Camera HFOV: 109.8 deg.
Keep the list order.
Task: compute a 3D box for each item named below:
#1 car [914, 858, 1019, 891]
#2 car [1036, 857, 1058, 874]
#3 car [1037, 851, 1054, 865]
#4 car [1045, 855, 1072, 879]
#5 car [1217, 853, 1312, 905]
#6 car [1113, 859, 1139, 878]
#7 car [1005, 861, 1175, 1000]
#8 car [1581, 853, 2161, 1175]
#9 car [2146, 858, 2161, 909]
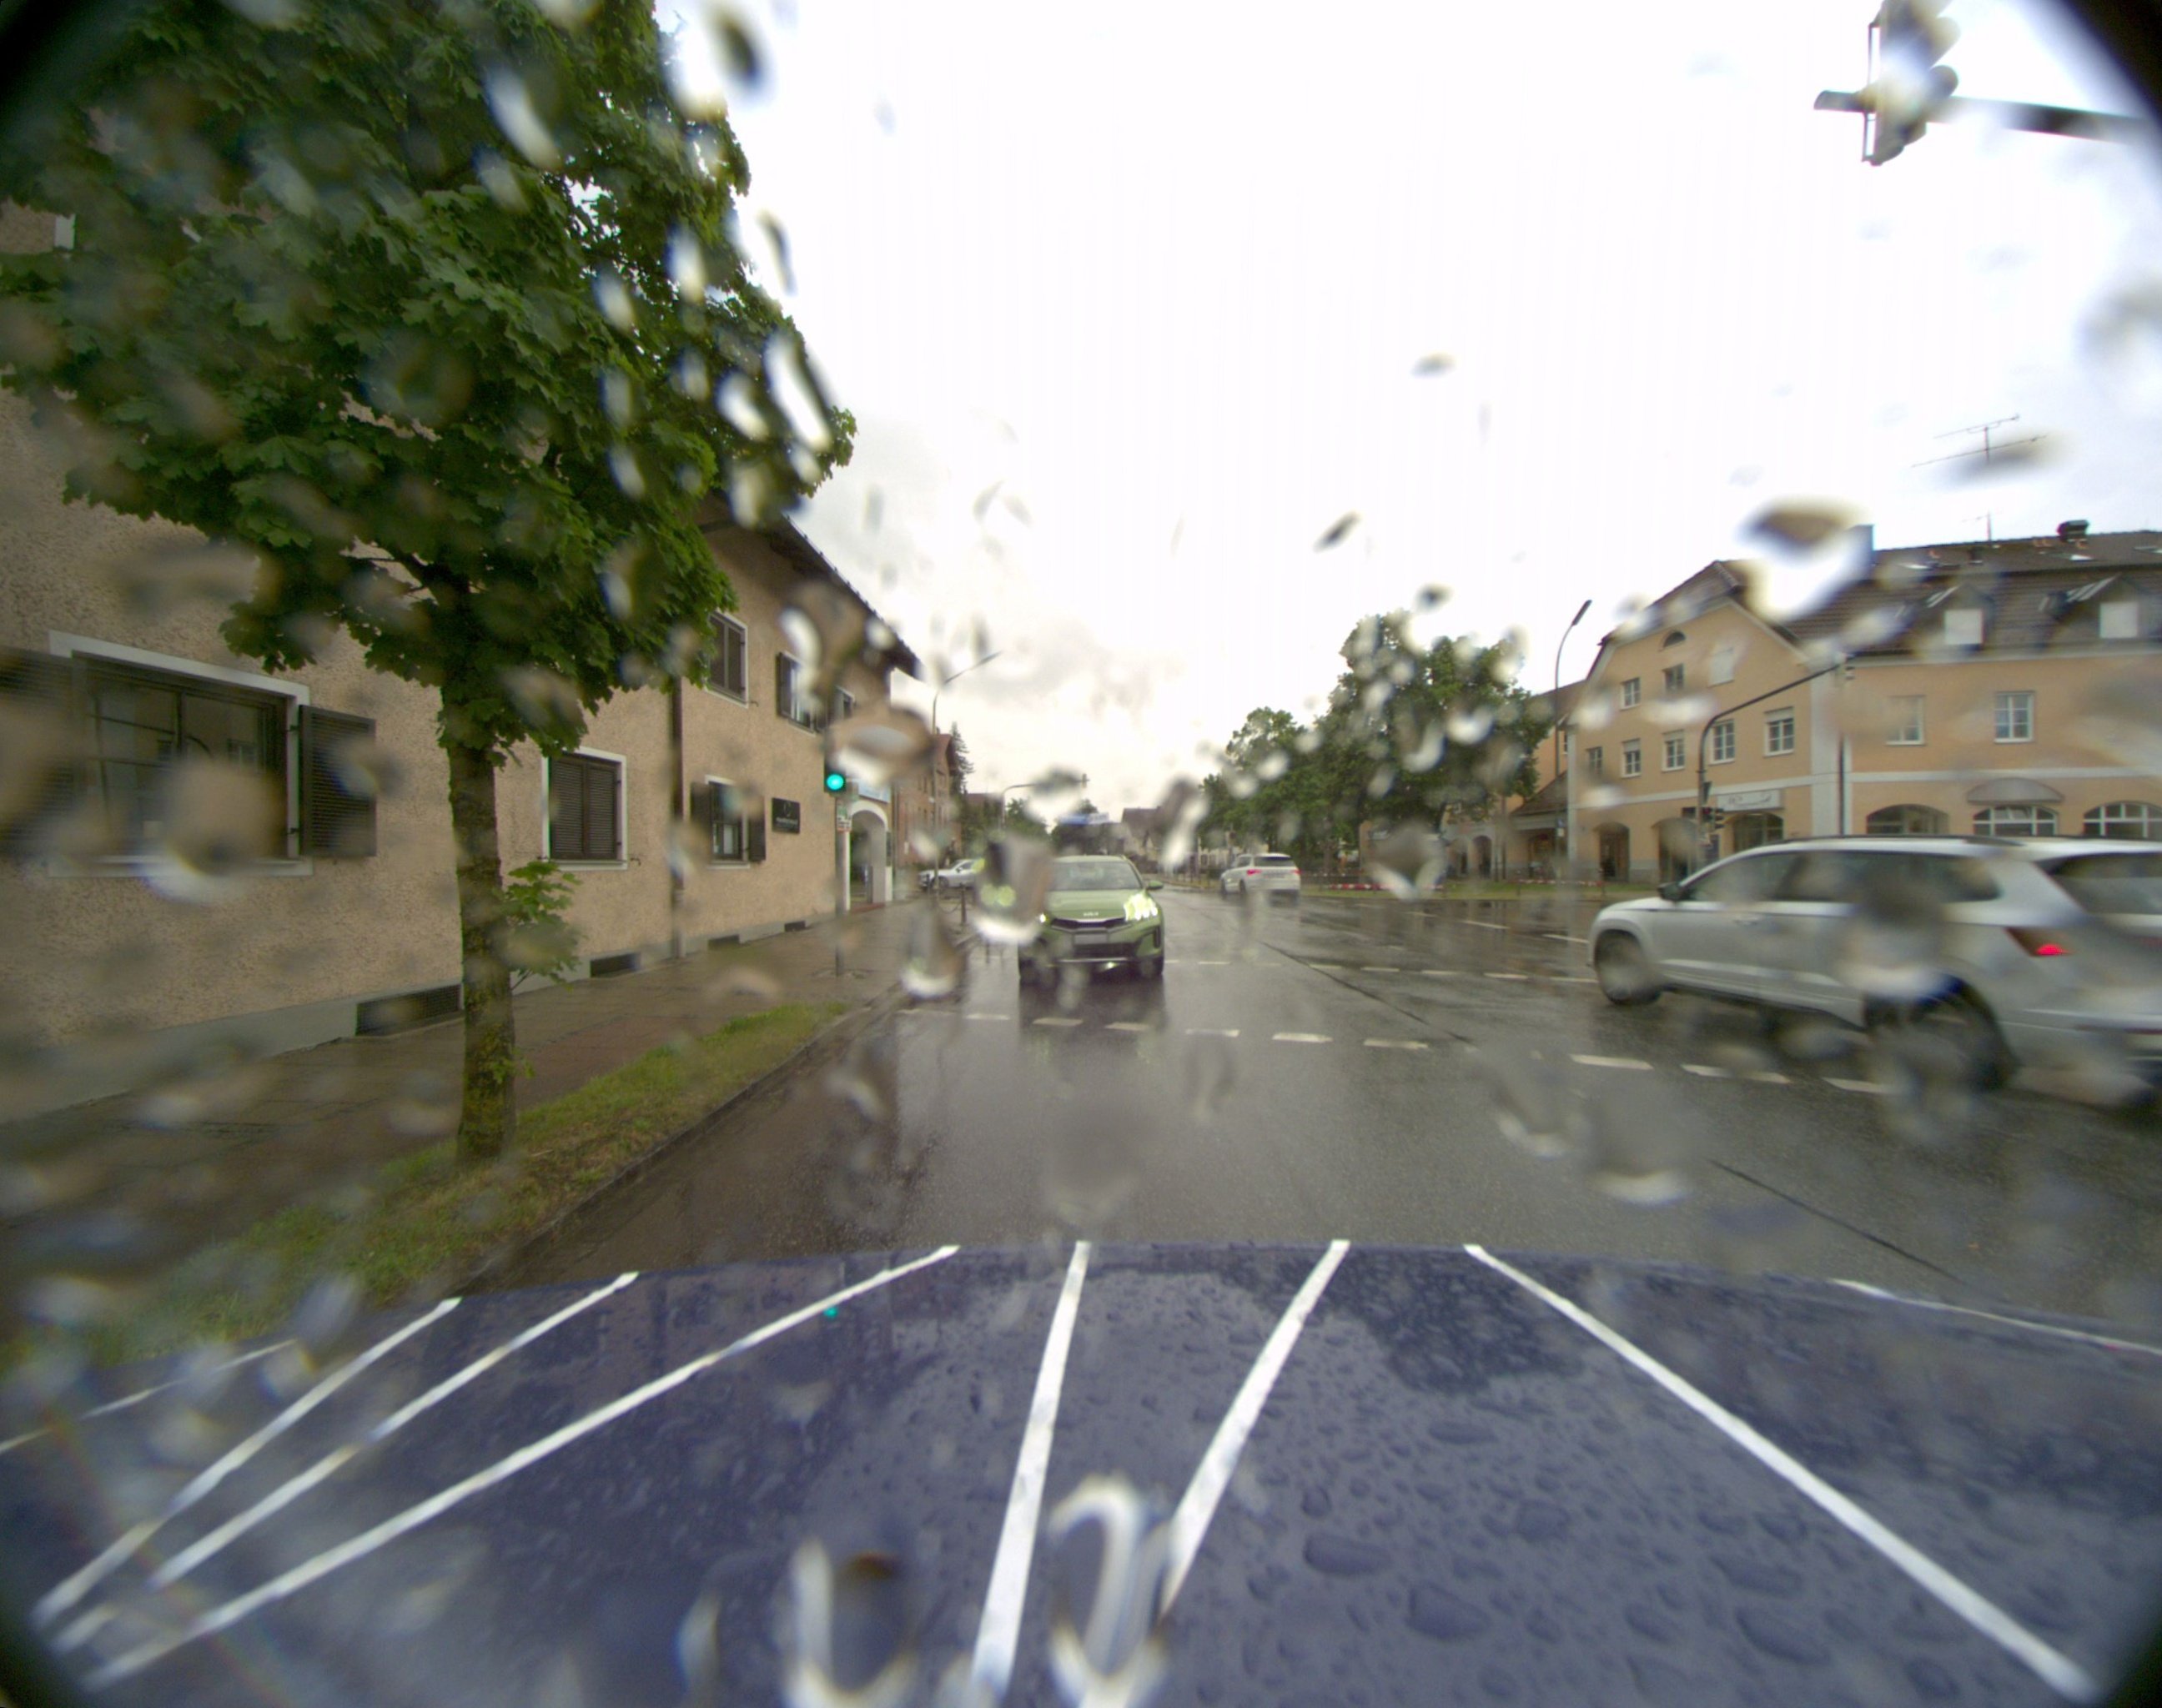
[{"bbox_3d":[-5.415,0.939,36.055,4.617,1.489,1.732,0,0,-27],"label":"car"},{"bbox_3d":[-3.259,1.110,73.691,1.839,1.508,4.669,1,0,0],"label":"car"},{"bbox_3d":[-5.026,0.582,108.339,2.218,1.977,4.952,1,0,-5],"label":"car"},{"bbox_3d":[-1.478,0.861,51.460,1.637,1.508,4.000,1,0,0],"label":"car"},{"bbox_3d":[5.996,0.768,25.370,1.972,1.553,4.150,0,0,-3],"label":"car"},{"bbox_3d":[3.885,1.231,66.036,1.921,1.524,3.898,0,0,-2],"label":"car"},{"bbox_3d":[0.129,0.876,10.596,1.872,1.504,4.105,-2,0,1],"label":"car"},{"bbox_3d":[6.105,0.780,5.763,1.931,1.557,4.126,0,0,0],"label":"car"},{"bbox_3d":[27.180,0.674,16.676,4.352,1.178,1.691,-1,0,15],"label":"car"}]
